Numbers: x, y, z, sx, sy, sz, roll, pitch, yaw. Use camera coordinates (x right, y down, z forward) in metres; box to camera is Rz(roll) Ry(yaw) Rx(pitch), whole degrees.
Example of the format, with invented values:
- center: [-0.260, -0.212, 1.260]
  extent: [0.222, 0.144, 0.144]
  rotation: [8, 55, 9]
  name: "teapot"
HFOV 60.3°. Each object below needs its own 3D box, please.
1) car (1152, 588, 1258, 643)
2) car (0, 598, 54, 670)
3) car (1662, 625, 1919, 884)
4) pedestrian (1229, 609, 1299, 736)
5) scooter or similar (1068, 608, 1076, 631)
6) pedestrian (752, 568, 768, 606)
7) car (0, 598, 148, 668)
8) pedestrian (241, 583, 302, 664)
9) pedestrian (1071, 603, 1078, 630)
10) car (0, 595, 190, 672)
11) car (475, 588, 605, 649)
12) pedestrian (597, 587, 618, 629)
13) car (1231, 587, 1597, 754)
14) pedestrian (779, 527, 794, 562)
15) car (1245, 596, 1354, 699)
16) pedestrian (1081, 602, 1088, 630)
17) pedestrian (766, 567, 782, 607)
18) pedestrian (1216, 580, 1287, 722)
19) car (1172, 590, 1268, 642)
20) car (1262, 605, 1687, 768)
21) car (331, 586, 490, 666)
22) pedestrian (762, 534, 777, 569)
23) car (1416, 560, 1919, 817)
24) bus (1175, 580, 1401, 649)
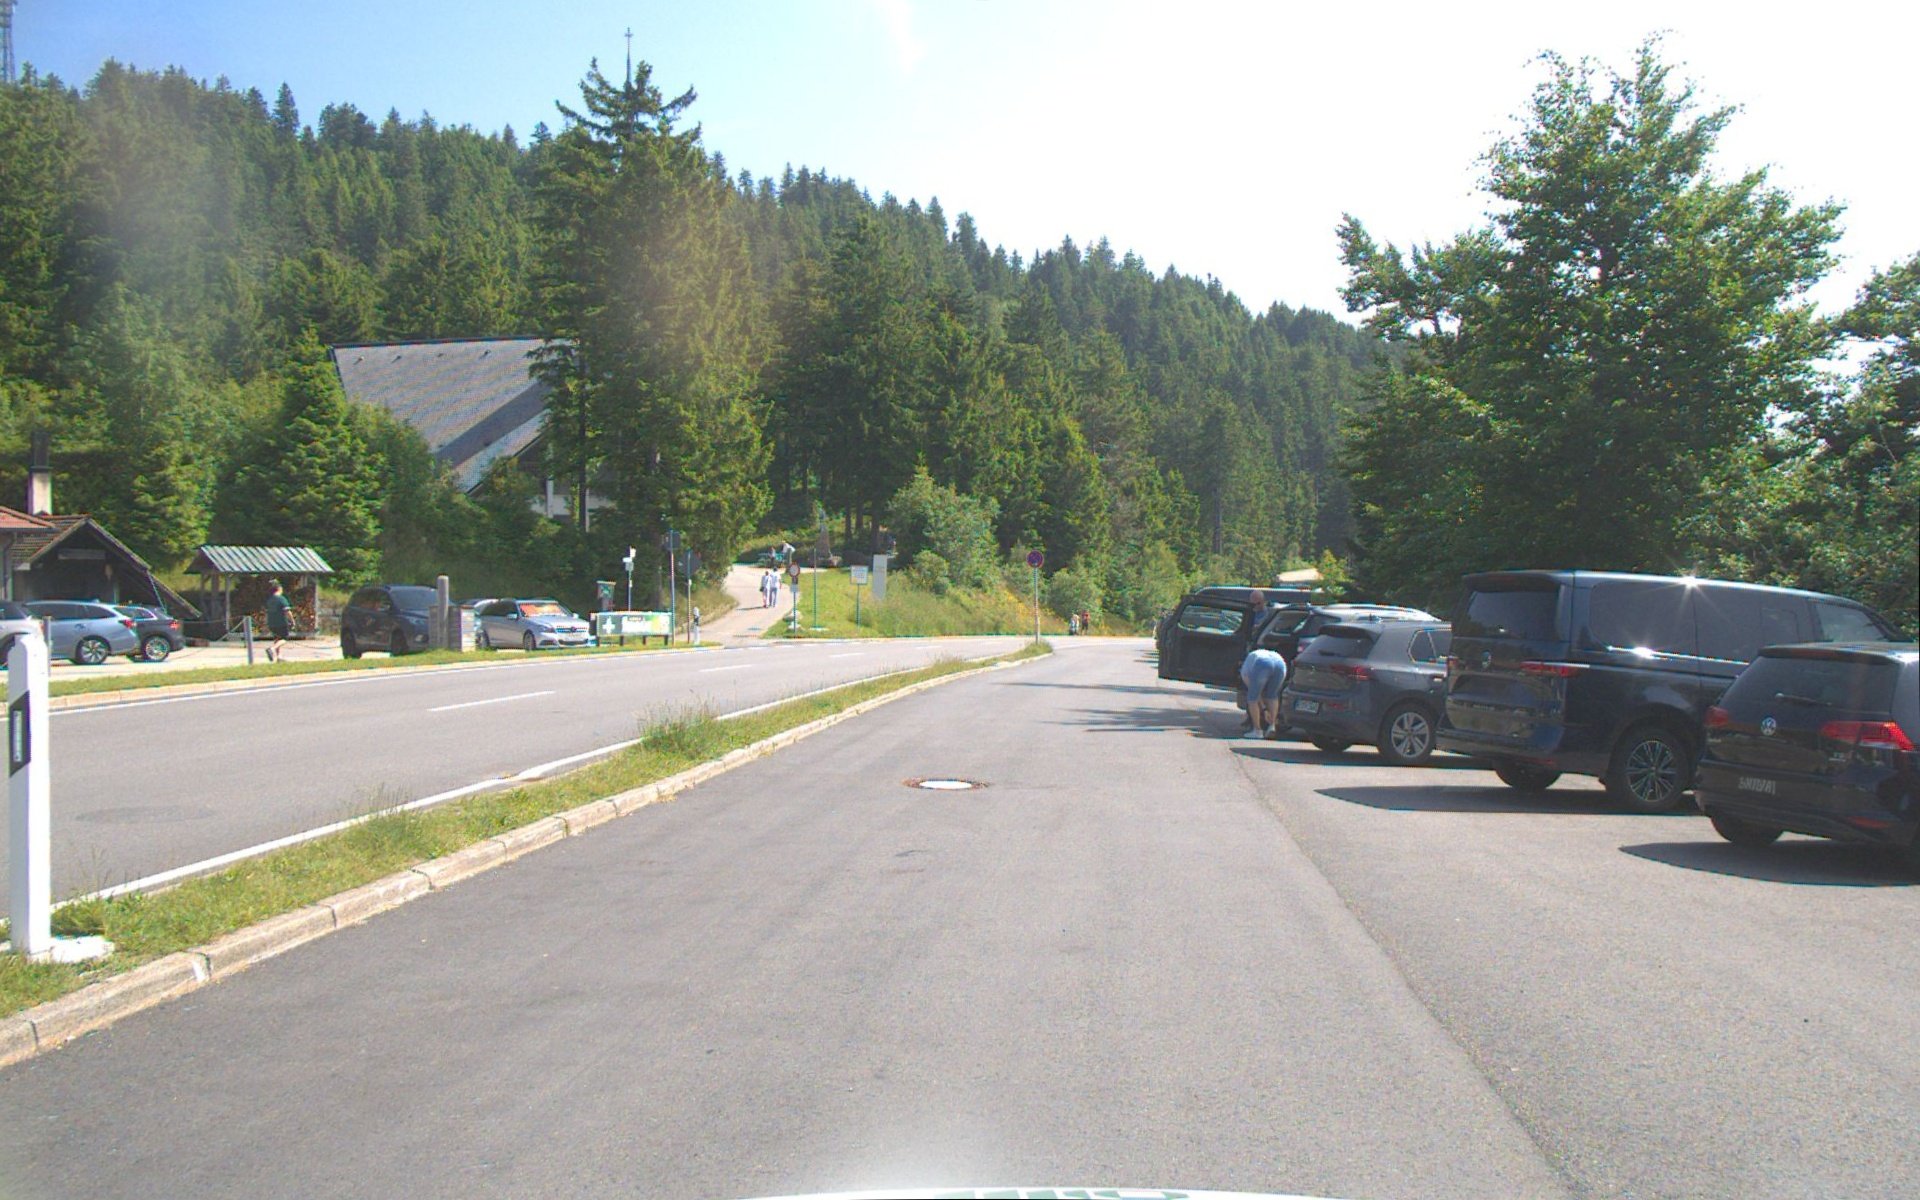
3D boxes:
- center: [9.465, 0.588, 64.198]
  extent: [3.903, 1.749, 1.869]
  rotation: [4, 2, 6]
  name: "car"
- center: [-20.995, 0.761, 33.970]
  extent: [3.959, 1.444, 1.662]
  rotation: [-2, 0, -38]
  name: "car"
- center: [6.923, 1.000, 11.134]
  extent: [3.930, 1.439, 1.734]
  rotation: [3, 0, -21]
  name: "car"
- center: [3.545, 0.832, 19.241]
  extent: [0.757, 1.427, 0.670]
  rotation: [-1, 1, 13]
  name: "pedestrian"
- center: [7.266, 1.264, 107.360]
  extent: [0.472, 1.404, 0.818]
  rotation: [-1, 1, 6]
  name: "scooter or similar"
- center: [-9.107, -0.583, 75.220]
  extent: [0.639, 1.696, 0.643]
  rotation: [0, -2, 0]
  name: "pedestrian"
- center: [-20.705, 0.756, 37.389]
  extent: [3.959, 1.444, 1.662]
  rotation: [-2, 0, -38]
  name: "car"
- center: [-15.476, 0.525, 37.188]
  extent: [0.877, 1.764, 0.961]
  rotation: [-1, 1, 6]
  name: "pedestrian"
- center: [7.486, 1.061, 107.986]
  extent: [0.406, 1.777, 0.457]
  rotation: [-1, 1, 6]
  name: "pedestrian"
- center: [-20.993, 0.758, 40.015]
  extent: [3.957, 1.646, 1.974]
  rotation: [-2, 2, -37]
  name: "car"
- center: [-10.860, 0.455, 42.662]
  extent: [1.728, 1.466, 3.913]
  rotation: [-2, 1, -40]
  name: "car"
- center: [-13.265, 0.301, 62.249]
  extent: [0.565, 1.559, 0.553]
  rotation: [-1, 1, 6]
  name: "pedestrian"
- center: [5.649, 0.874, 20.653]
  extent: [3.931, 1.690, 1.988]
  rotation: [5, -1, -21]
  name: "car"
- center: [-10.487, -3.358, 99.990]
  extent: [0.799, 2.048, 0.853]
  rotation: [-1, 1, -2]
  name: "pedestrian"
- center: [7.570, 1.002, 37.268]
  extent: [1.865, 2.006, 4.823]
  rotation: [5, 0, 7]
  name: "car"
- center: [8.156, 1.047, 108.166]
  extent: [0.386, 1.777, 0.406]
  rotation: [-1, 1, 11]
  name: "pedestrian"
- center: [-8.533, -0.601, 75.950]
  extent: [0.639, 1.830, 0.643]
  rotation: [0, 0, 0]
  name: "pedestrian"
- center: [3.788, 0.662, 21.532]
  extent: [0.571, 1.791, 0.628]
  rotation: [4, -1, -24]
  name: "pedestrian"
- center: [11.242, 0.665, 71.552]
  extent: [3.903, 1.845, 1.941]
  rotation: [5, 2, 9]
  name: "car"
- center: [5.425, 0.898, 17.607]
  extent: [3.921, 1.468, 1.833]
  rotation: [3, 0, -15]
  name: "car"
- center: [-12.256, 0.557, 36.778]
  extent: [1.775, 1.662, 4.143]
  rotation: [1, -1, -44]
  name: "car"
- center: [-11.416, -2.914, 98.910]
  extent: [0.781, 2.048, 0.940]
  rotation: [-1, 1, -2]
  name: "pedestrian"
- center: [6.578, 0.748, 14.290]
  extent: [4.675, 1.912, 1.960]
  rotation: [3, 0, -13]
  name: "car"
- center: [19.138, 0.766, 96.913]
  extent: [12.601, 3.640, 2.981]
  rotation: [1, 2, 23]
  name: "bus"
